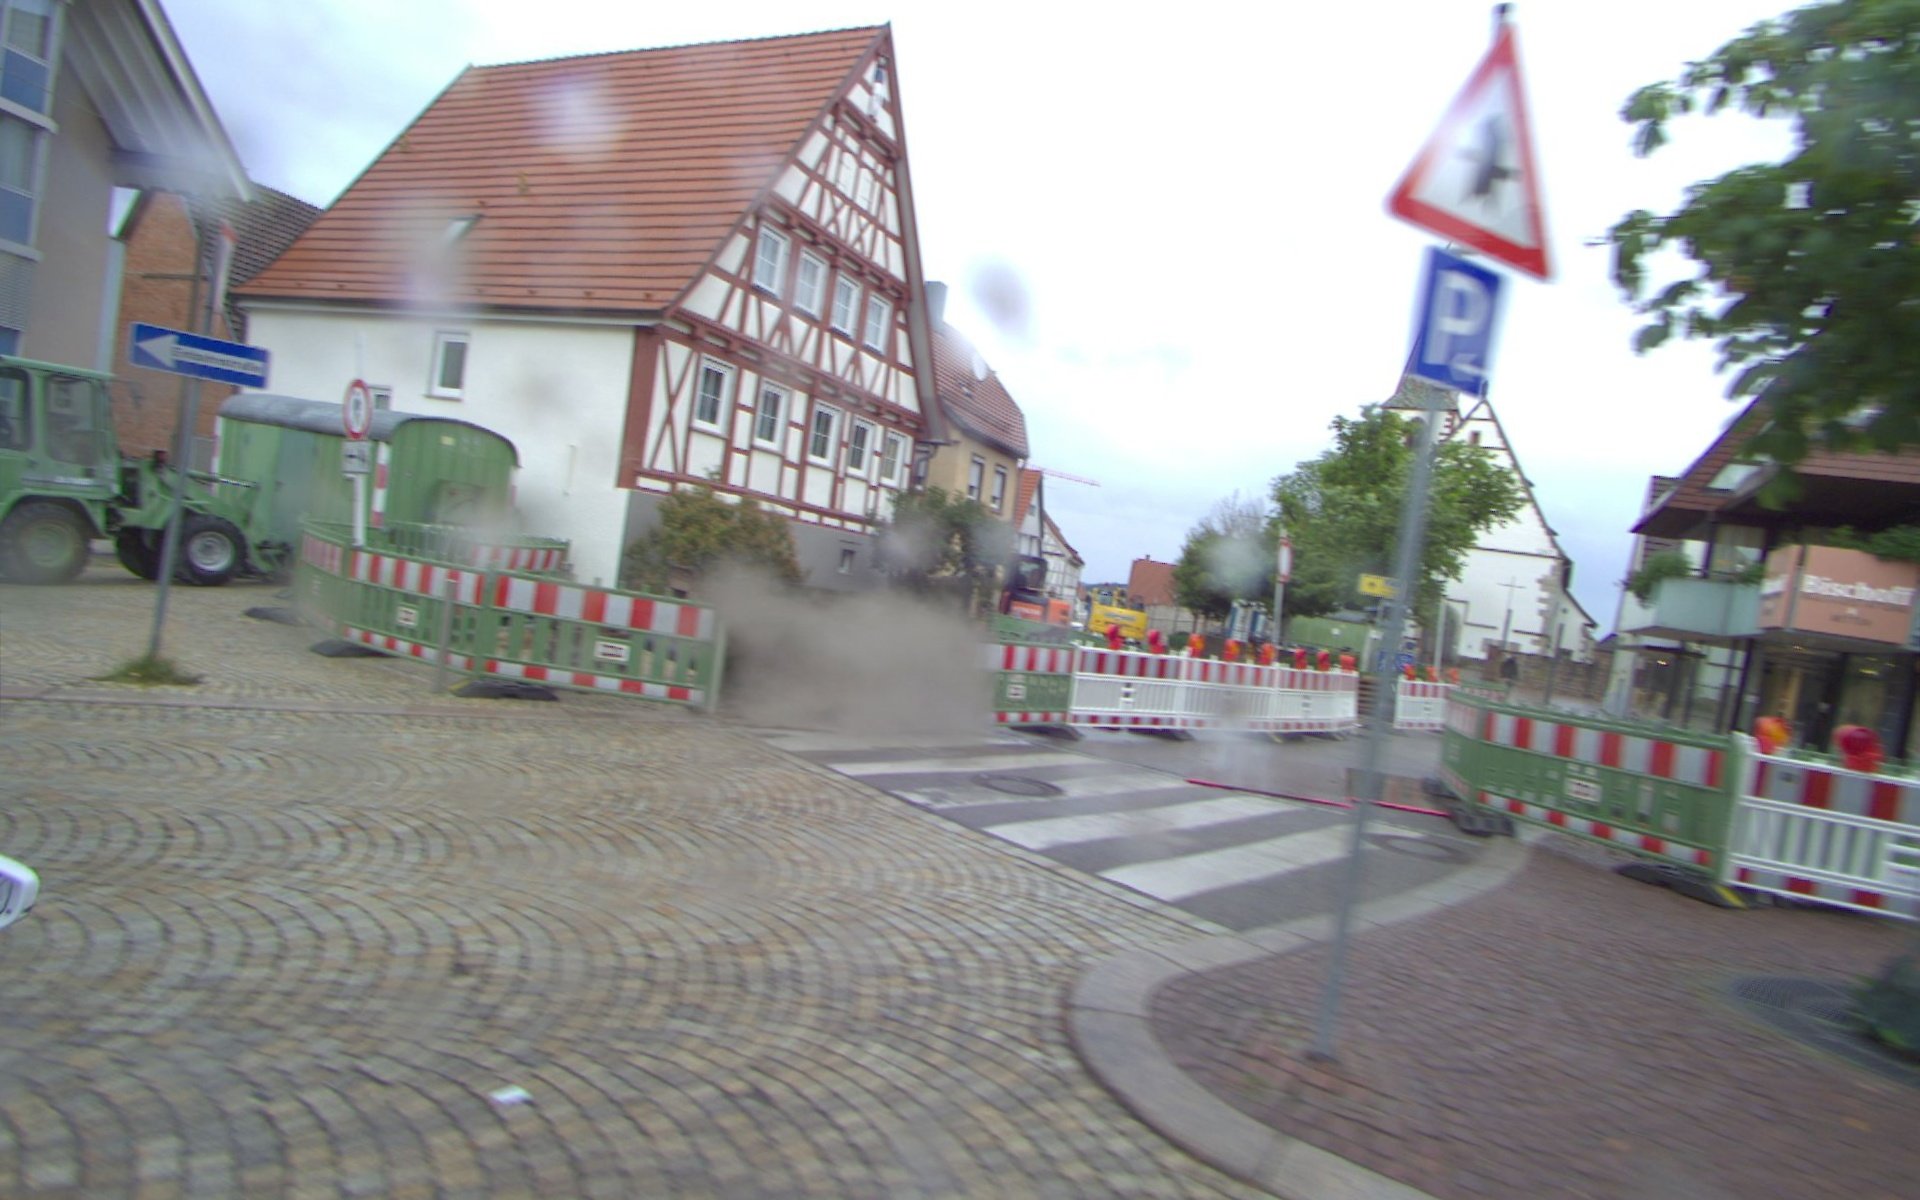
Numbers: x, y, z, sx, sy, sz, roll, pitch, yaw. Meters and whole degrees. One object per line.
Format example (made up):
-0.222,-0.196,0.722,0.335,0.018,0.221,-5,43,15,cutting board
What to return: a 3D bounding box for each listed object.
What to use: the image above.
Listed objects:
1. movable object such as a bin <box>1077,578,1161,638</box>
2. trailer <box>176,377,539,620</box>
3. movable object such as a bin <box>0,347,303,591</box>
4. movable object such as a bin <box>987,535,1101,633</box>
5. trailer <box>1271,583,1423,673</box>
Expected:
7.243,0.397,45.832,3.349,2.038,3.480,11,1,10,movable object such as a bin
-9.442,-1.573,15.808,4.549,2.871,2.491,11,1,25,trailer
-11.085,-1.576,12.650,1.876,2.587,4.287,7,2,21,movable object such as a bin
2.243,-0.325,25.791,1.875,2.038,4.001,8,0,17,movable object such as a bin
17.567,1.243,45.907,5.694,2.983,2.000,10,1,4,trailer
